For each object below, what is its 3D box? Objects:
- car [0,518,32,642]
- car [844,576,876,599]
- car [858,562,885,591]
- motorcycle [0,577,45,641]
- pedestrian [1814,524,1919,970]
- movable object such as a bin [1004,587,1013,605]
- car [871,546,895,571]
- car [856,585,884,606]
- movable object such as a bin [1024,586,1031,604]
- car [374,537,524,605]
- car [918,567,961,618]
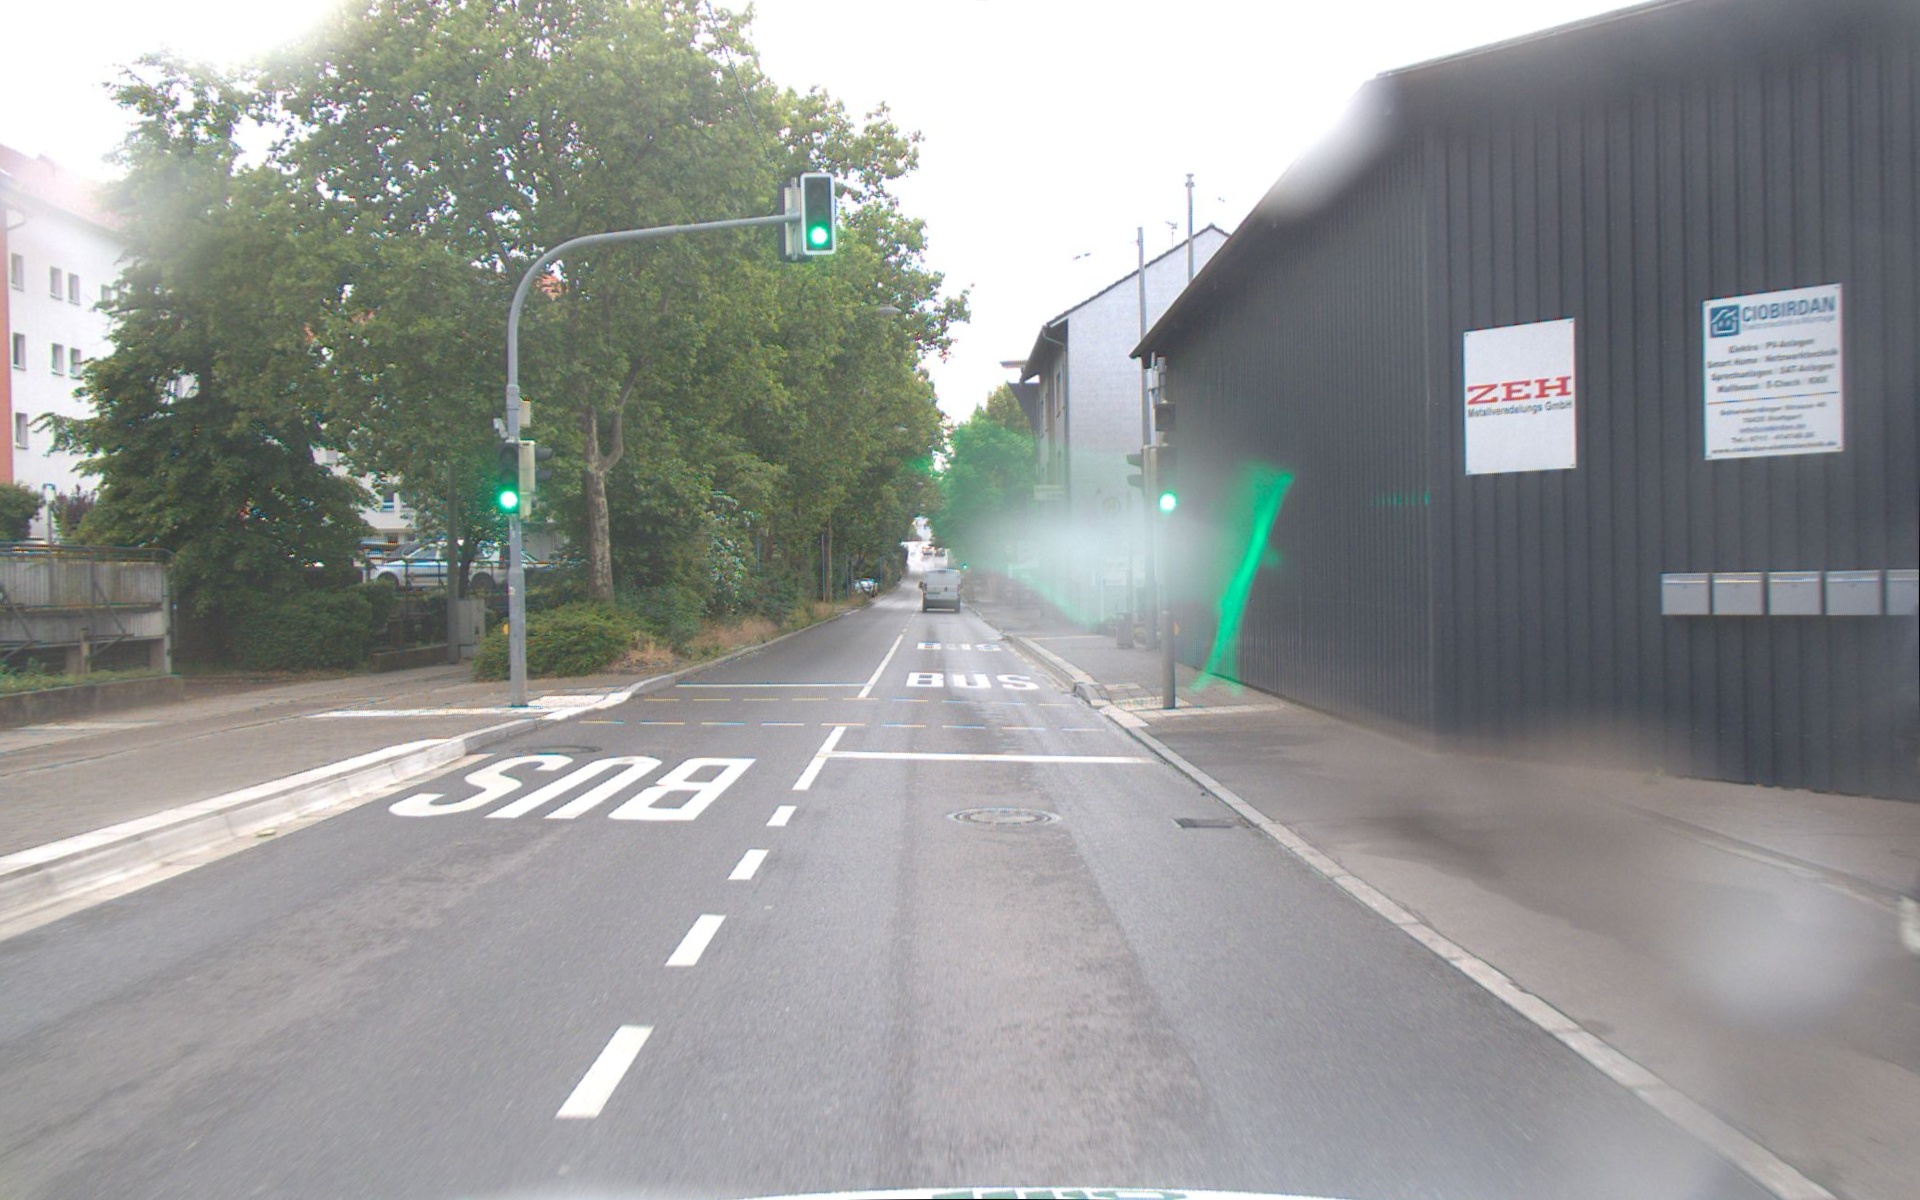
[{"bbox_3d":[-15.440,-0.319,22.465,4.453,1.701,1.999,1,-1,-2],"label":"car"},{"bbox_3d":[-7.916,-0.961,131.318,2.170,1.620,4.609,1,-1,1],"label":"car"},{"bbox_3d":[-8.258,-2.172,155.202,2.170,2.578,4.610,1,-1,1],"label":"car"},{"bbox_3d":[-14.509,0.122,24.177,1.912,0.929,0.568,1,-1,-1],"label":"motorcycle"},{"bbox_3d":[4.083,0.580,6.701,0.728,1.734,0.900,1,-1,-6],"label":"pedestrian"},{"bbox_3d":[2.997,-0.245,102.351,0.392,1.085,0.358,-4,-1,-7],"label":"movable object such as a bin"},{"bbox_3d":[-8.185,-4.454,176.779,2.170,2.334,4.609,1,-2,1],"label":"car"},{"bbox_3d":[-8.187,-0.419,150.375,2.170,1.721,4.609,1,-1,1],"label":"car"},{"bbox_3d":[4.192,-0.301,102.312,0.392,1.085,0.358,0,-1,-7],"label":"movable object such as a bin"},{"bbox_3d":[-15.650,-0.880,50.780,4.084,2.049,1.718,0,0,-3],"label":"car"},{"bbox_3d":[-1.082,-0.372,89.094,2.236,2.597,3.999,0,-1,-1],"label":"car"}]
